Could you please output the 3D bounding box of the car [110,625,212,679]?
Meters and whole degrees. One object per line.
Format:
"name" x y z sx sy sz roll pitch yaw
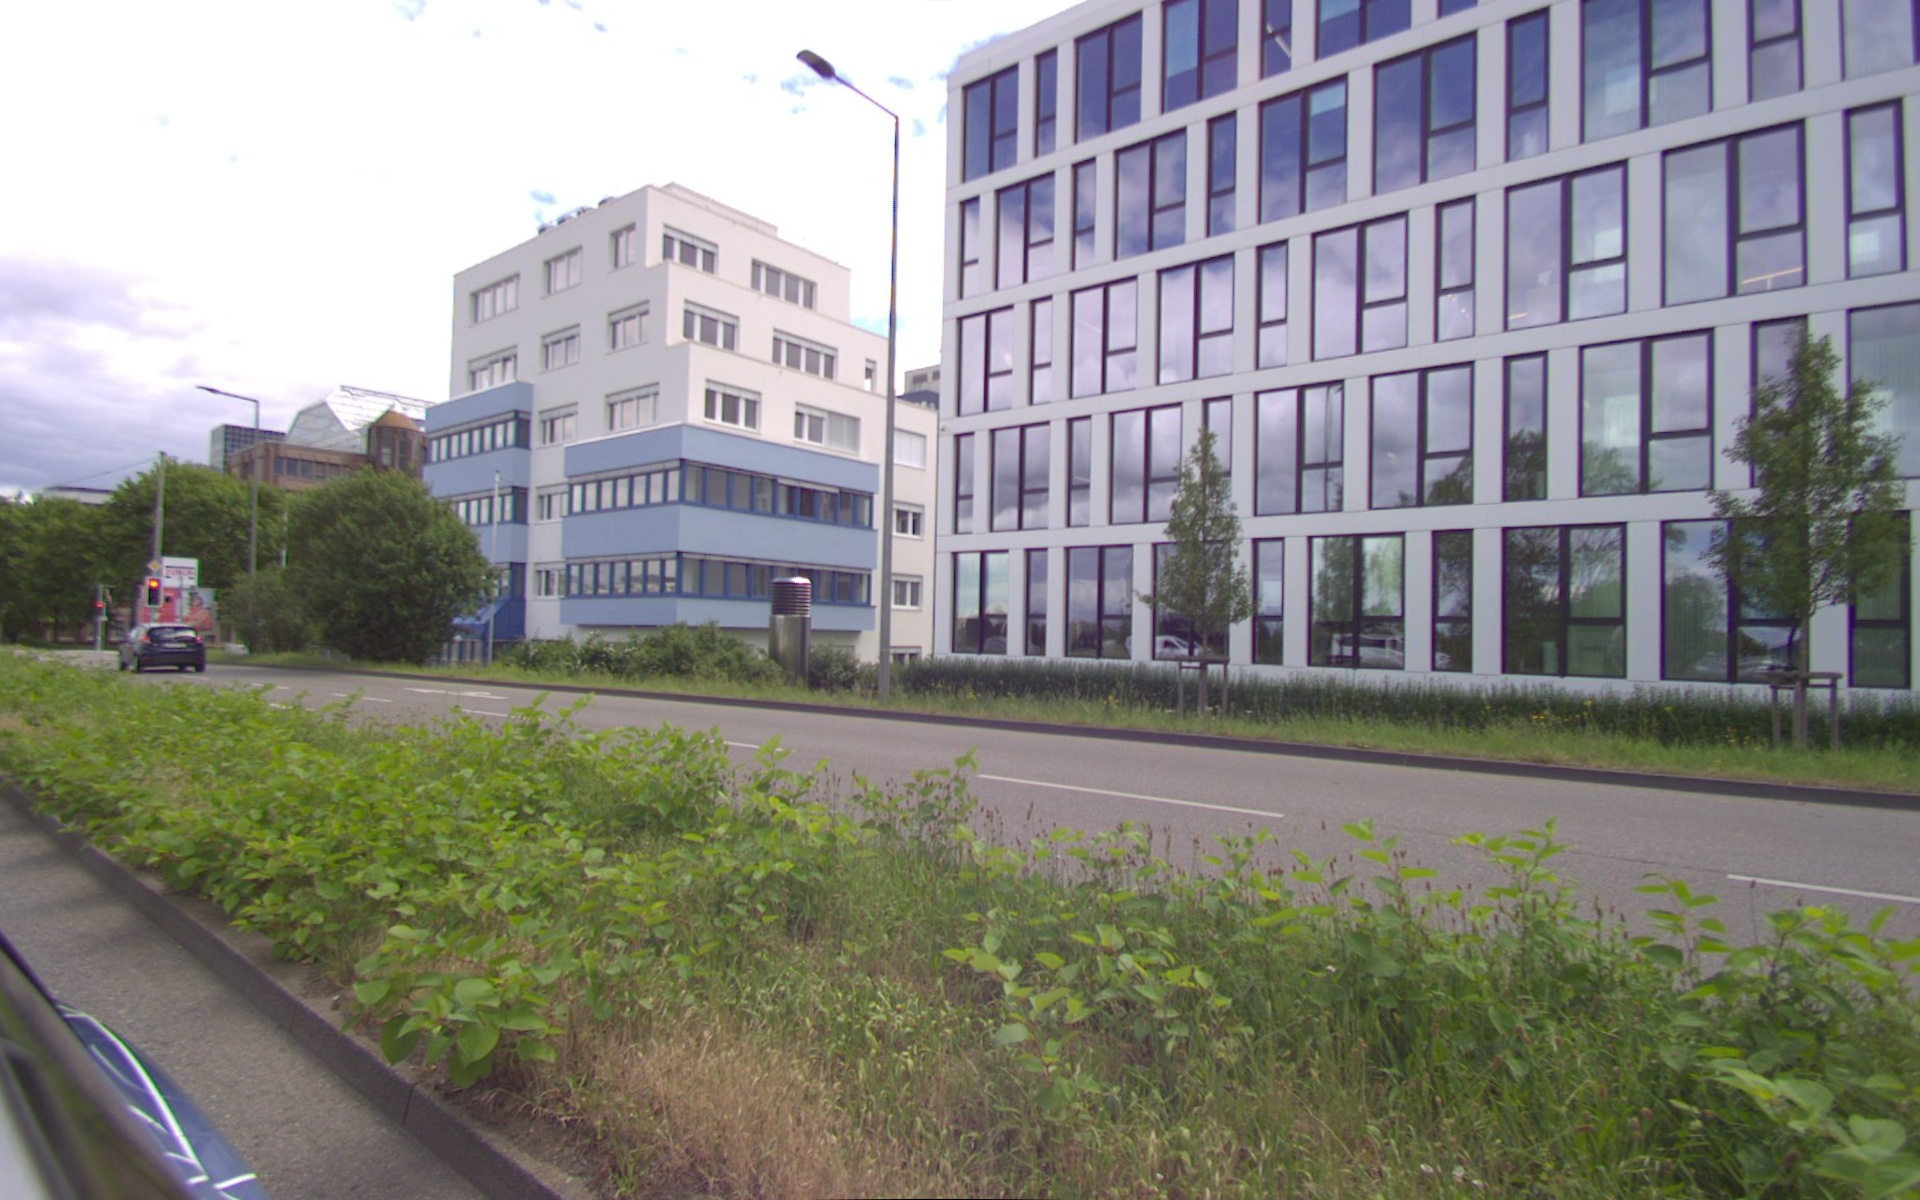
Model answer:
"car" -24.074 1.512 30.459 3.890 1.457 1.736 0 0 41
